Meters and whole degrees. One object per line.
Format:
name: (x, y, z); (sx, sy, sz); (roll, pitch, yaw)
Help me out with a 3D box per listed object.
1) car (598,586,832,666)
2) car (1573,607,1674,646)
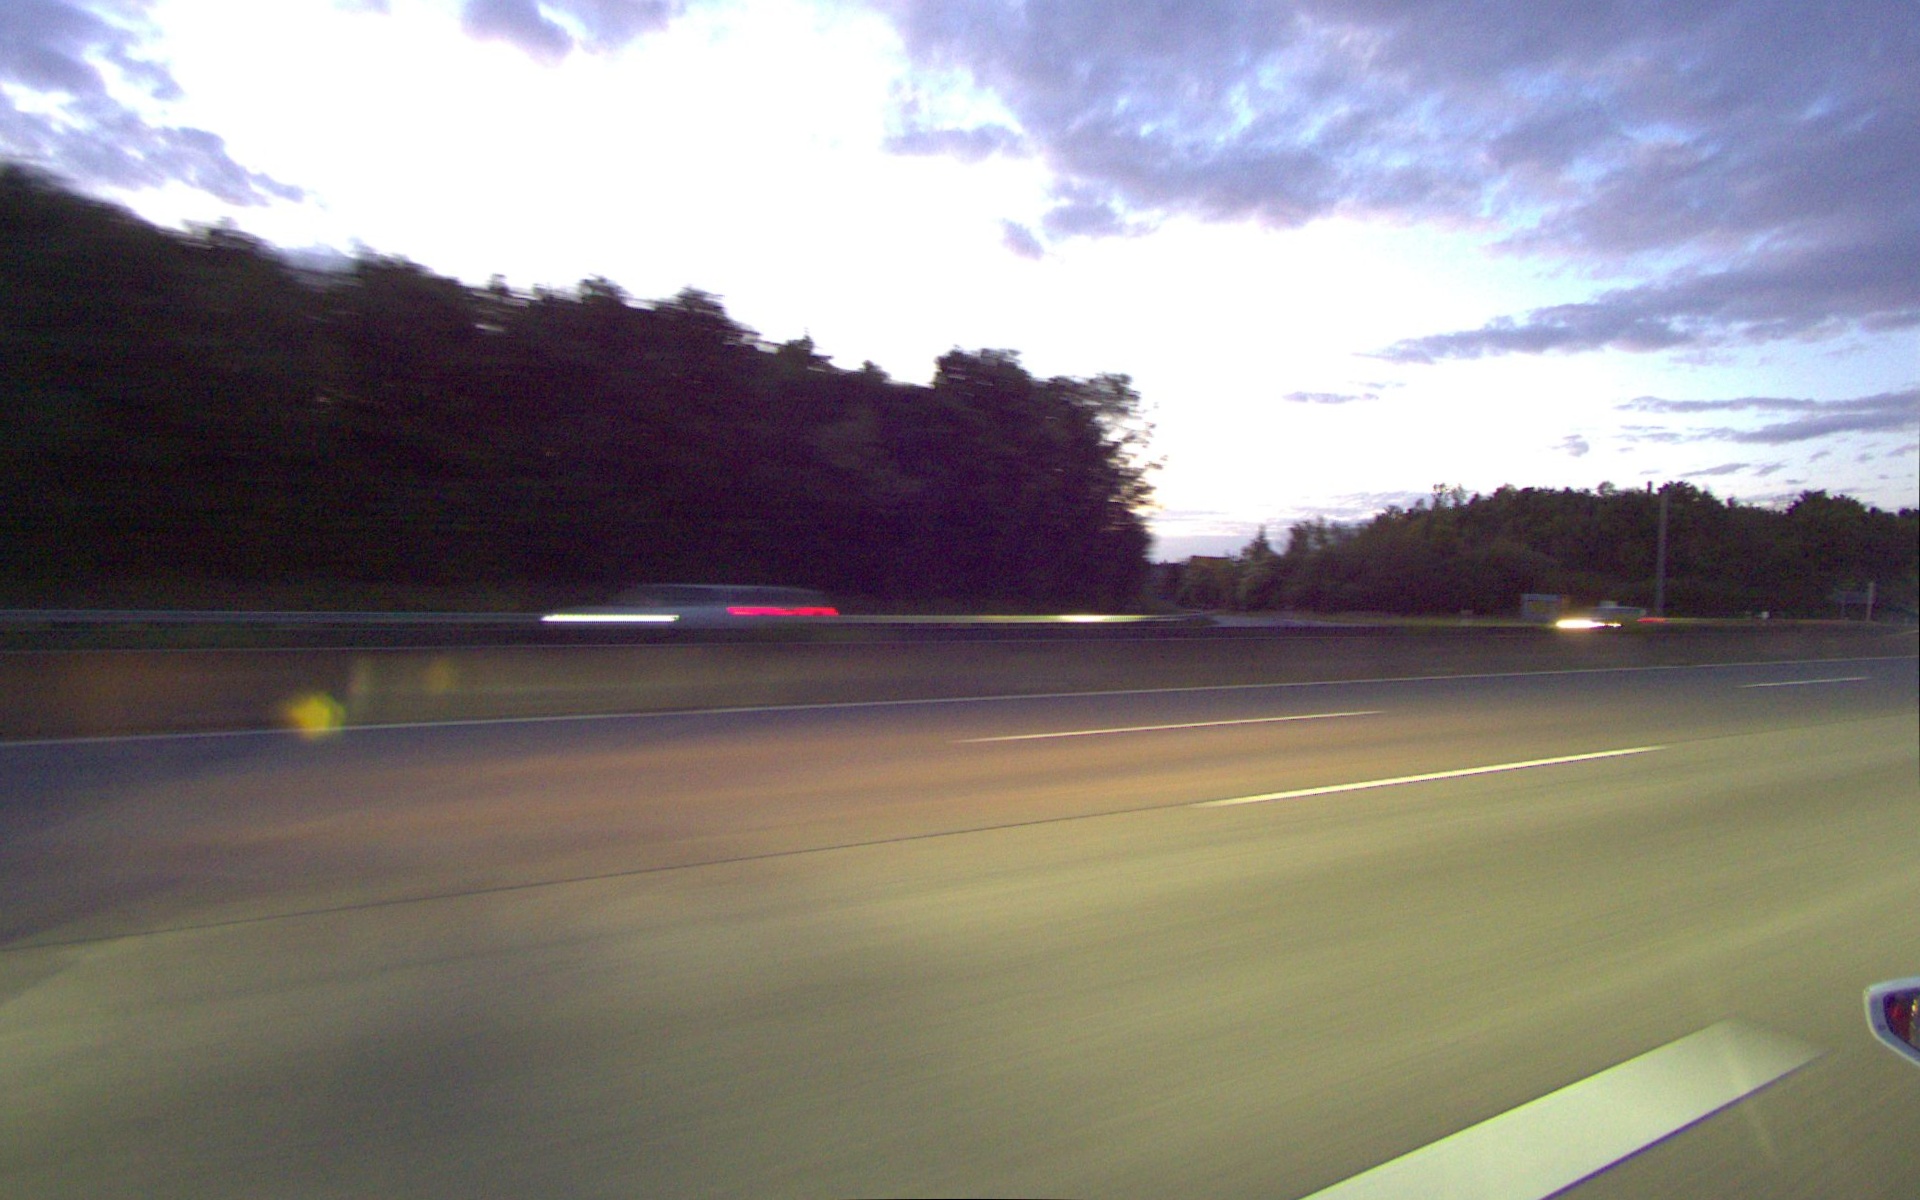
car: (-5.668, 0.581, 23.393); (4.951, 1.687, 1.984); (1, 0, -30)
car: (29.942, 1.179, 45.288); (4.504, 1.631, 1.984); (1, 0, -30)
